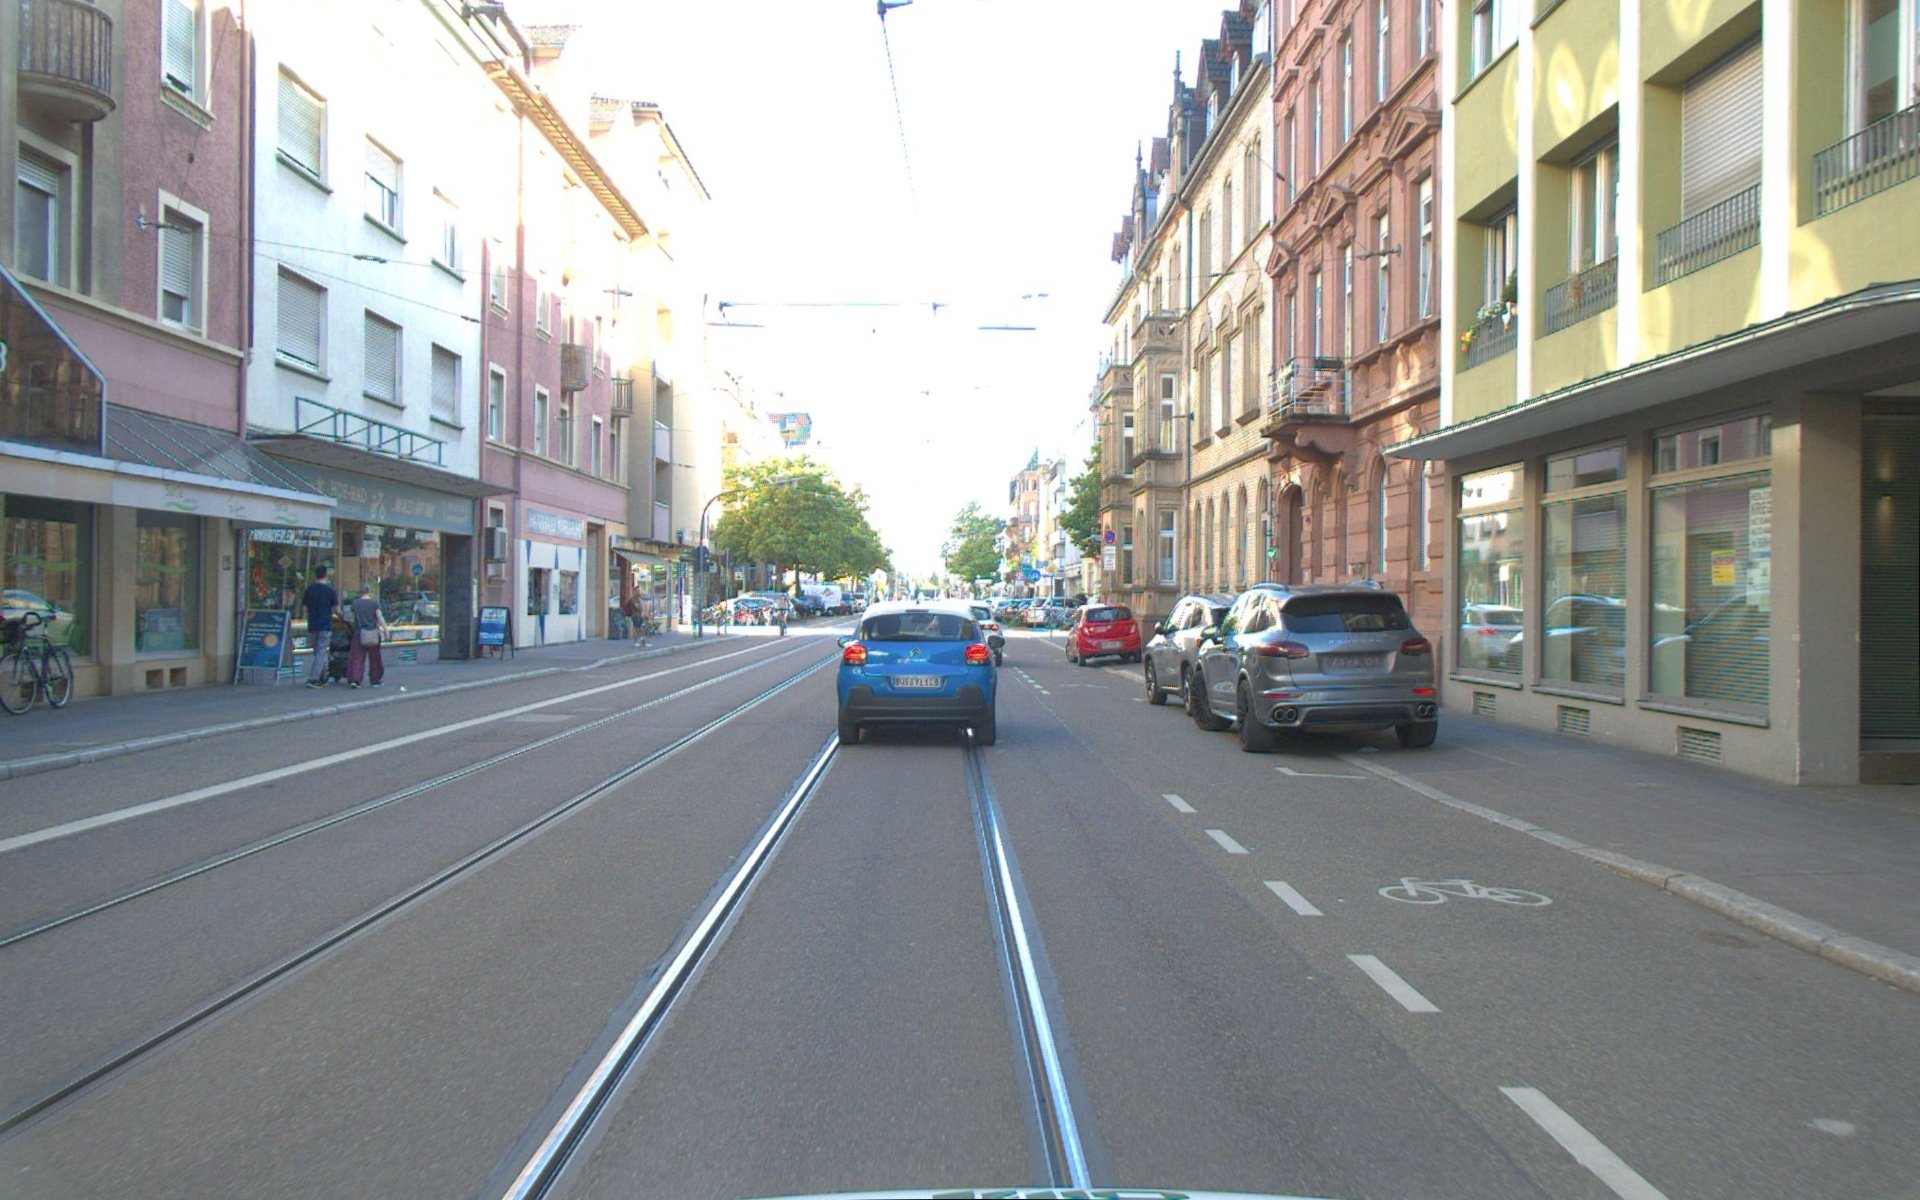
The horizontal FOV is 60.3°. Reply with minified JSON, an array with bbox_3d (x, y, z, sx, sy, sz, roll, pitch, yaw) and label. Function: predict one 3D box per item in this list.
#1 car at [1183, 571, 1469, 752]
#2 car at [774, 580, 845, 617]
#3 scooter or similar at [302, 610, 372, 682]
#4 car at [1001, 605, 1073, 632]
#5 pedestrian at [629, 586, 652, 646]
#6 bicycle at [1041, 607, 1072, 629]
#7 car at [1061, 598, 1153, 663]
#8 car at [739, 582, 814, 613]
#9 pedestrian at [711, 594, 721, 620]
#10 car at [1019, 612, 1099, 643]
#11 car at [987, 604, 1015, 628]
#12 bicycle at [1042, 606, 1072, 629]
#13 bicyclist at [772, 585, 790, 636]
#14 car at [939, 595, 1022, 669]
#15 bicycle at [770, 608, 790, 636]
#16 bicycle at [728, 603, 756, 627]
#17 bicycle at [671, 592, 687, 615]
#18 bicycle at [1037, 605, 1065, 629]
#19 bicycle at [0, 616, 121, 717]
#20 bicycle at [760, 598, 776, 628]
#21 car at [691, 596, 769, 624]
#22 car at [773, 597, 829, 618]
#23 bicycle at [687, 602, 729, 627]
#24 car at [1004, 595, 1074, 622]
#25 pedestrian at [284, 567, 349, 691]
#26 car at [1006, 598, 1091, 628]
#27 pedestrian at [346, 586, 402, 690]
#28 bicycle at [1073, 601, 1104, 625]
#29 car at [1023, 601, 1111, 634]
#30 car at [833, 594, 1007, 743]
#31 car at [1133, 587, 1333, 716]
[{"bbox_3d":[3.836,0.607,18.252,1.953,1.644,4.784,-3,0,-1],"label":"car"},{"bbox_3d":[-11.870,-0.081,130.814,5.315,2.797,1.787,1,-1,-31],"label":"car"},{"bbox_3d":[-9.742,0.708,25.892,0.648,1.080,1.105,1,0,0],"label":"scooter or similar"},{"bbox_3d":[4.934,1.182,106.015,4.249,1.624,1.966,1,-1,-26],"label":"car"},{"bbox_3d":[-9.304,0.460,48.157,0.552,1.715,0.616,1,-1,-2],"label":"pedestrian"},{"bbox_3d":[4.923,0.900,84.170,1.523,1.098,0.307,1,-1,5],"label":"bicycle"},{"bbox_3d":[3.719,0.762,42.475,1.828,1.508,4.400,-2,0,-1],"label":"car"},{"bbox_3d":[-11.620,-0.144,104.926,4.313,1.814,1.973,1,-1,-34],"label":"car"},{"bbox_3d":[-15.731,0.451,106.651,0.557,1.681,0.641,1,-1,-1],"label":"pedestrian"},{"bbox_3d":[5.405,1.502,90.467,3.937,1.563,1.903,1,-1,-26],"label":"car"},{"bbox_3d":[2.902,1.161,118.511,1.835,1.624,4.718,1,0,0],"label":"car"},{"bbox_3d":[4.956,0.880,84.520,1.527,1.147,0.295,1,-1,5],"label":"bicycle"},{"bbox_3d":[-7.287,0.425,67.237,0.599,2.049,0.733,1,-1,0],"label":"bicyclist"},{"bbox_3d":[0.442,0.723,39.170,1.835,1.624,3.999,1,0,0],"label":"car"},{"bbox_3d":[-7.293,0.895,67.115,0.590,1.115,2.044,-2,0,0],"label":"bicycle"},{"bbox_3d":[-10.949,0.742,82.979,0.675,1.143,1.868,0,2,-31],"label":"bicycle"},{"bbox_3d":[-14.071,0.164,82.796,0.397,1.129,1.825,0,-1,-21],"label":"bicycle"},{"bbox_3d":[4.524,0.858,82.188,1.369,1.147,0.551,1,-1,-2],"label":"bicycle"},{"bbox_3d":[-10.502,0.735,19.144,0.416,1.078,2.329,1,0,-1],"label":"bicycle"},{"bbox_3d":[-9.583,0.639,82.521,0.668,1.342,2.434,1,2,-5],"label":"bicycle"},{"bbox_3d":[-12.298,0.519,88.458,3.746,1.424,1.734,1,-1,-34],"label":"car"},{"bbox_3d":[-12.038,0.558,124.846,3.924,1.515,1.797,1,-1,-18],"label":"car"},{"bbox_3d":[-12.558,0.722,82.399,2.390,1.128,0.680,3,2,40],"label":"bicycle"},{"bbox_3d":[4.939,0.531,103.425,3.937,1.624,2.071,1,-1,-26],"label":"car"},{"bbox_3d":[-9.672,0.437,24.883,0.613,1.821,0.821,1,-1,-1],"label":"pedestrian"},{"bbox_3d":[4.997,0.735,93.555,4.379,1.624,2.072,1,-1,-26],"label":"car"},{"bbox_3d":[-9.063,0.578,25.593,0.623,1.576,0.623,1,-1,-1],"label":"pedestrian"},{"bbox_3d":[6.373,0.624,82.047,1.523,1.147,0.552,1,-1,6],"label":"bicycle"},{"bbox_3d":[5.690,0.939,87.811,4.297,1.624,1.838,1,-1,-26],"label":"car"},{"bbox_3d":[-0.431,0.704,18.468,1.726,1.466,3.556,1,0,-1],"label":"car"},{"bbox_3d":[3.853,0.694,24.110,1.829,1.675,4.396,1,0,-5],"label":"car"}]
